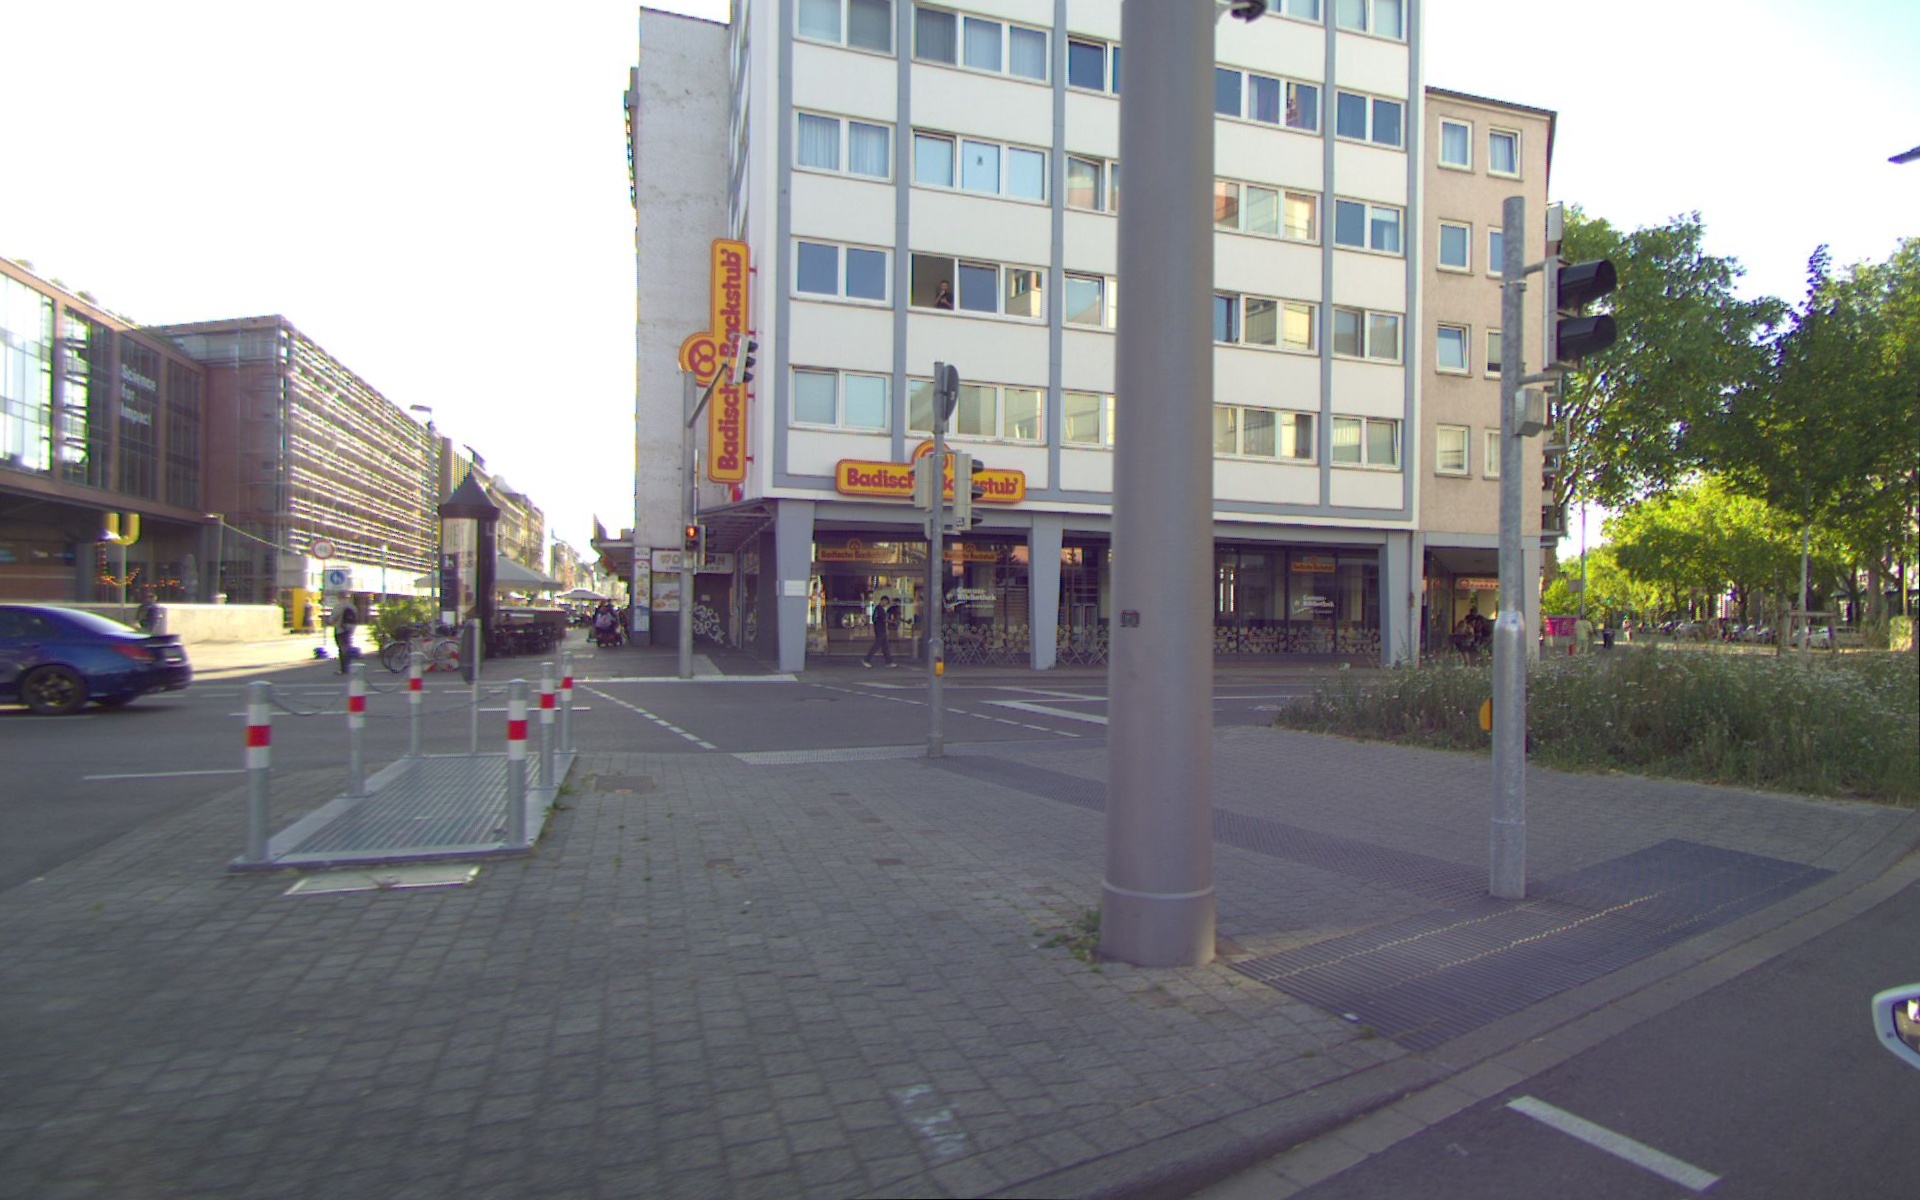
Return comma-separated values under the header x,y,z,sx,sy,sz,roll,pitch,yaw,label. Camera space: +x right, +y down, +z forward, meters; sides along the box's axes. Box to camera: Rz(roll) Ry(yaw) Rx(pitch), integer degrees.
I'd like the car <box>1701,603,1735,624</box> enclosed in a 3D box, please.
x,y,z,sx,sy,sz,roll,pitch,yaw,label
72.181,1.273,95.698,2.002,1.960,4.087,0,0,28,car

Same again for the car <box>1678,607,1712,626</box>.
x,y,z,sx,sy,sz,roll,pitch,yaw,label
59.610,1.319,81.527,1.896,1.407,3.990,0,0,32,car

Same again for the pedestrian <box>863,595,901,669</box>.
x,y,z,sx,sy,sz,roll,pitch,yaw,label
-1.880,0.770,24.196,0.763,1.747,0.805,1,0,-16,pedestrian

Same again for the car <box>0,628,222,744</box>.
x,y,z,sx,sy,sz,roll,pitch,yaw,label
-12.735,1.090,13.187,4.527,1.404,1.830,1,-1,-21,car

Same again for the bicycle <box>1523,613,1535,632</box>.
x,y,z,sx,sy,sz,roll,pitch,yaw,label
28.425,1.123,50.195,0.383,0.889,1.610,3,1,27,bicycle

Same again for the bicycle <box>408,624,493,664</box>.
x,y,z,sx,sy,sz,roll,pitch,yaw,label
-13.961,1.193,27.568,1.972,1.067,0.595,0,0,-13,bicycle

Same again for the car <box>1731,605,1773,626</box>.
x,y,z,sx,sy,sz,roll,pitch,yaw,label
66.183,1.269,83.964,2.002,1.742,4.088,0,0,28,car

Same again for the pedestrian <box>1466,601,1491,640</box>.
x,y,z,sx,sy,sz,roll,pitch,yaw,label
23.656,0.934,45.821,0.822,1.747,0.850,1,0,41,pedestrian

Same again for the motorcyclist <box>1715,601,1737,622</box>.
x,y,z,sx,sy,sz,roll,pitch,yaw,label
50.857,0.764,66.712,0.955,1.365,1.136,1,1,27,motorcyclist

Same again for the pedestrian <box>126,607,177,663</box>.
x,y,z,sx,sy,sz,roll,pitch,yaw,label
-24.808,1.065,30.830,0.866,1.687,0.908,0,0,18,pedestrian

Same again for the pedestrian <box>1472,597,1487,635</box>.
x,y,z,sx,sy,sz,roll,pitch,yaw,label
25.145,0.763,48.606,0.604,1.819,0.655,1,0,25,pedestrian

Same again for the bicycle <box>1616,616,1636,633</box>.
x,y,z,sx,sy,sz,roll,pitch,yaw,label
48.532,1.762,73.187,0.802,1.155,2.337,0,0,24,bicycle

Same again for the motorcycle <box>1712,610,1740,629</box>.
x,y,z,sx,sy,sz,roll,pitch,yaw,label
50.810,1.258,66.632,0.958,1.147,2.801,1,1,27,motorcycle

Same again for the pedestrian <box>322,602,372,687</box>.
x,y,z,sx,sy,sz,roll,pitch,yaw,label
-13.448,0.956,22.064,0.772,1.815,0.628,0,0,-16,pedestrian

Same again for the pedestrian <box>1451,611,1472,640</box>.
x,y,z,sx,sy,sz,roll,pitch,yaw,label
22.397,1.121,44.857,0.819,1.282,0.853,1,0,29,pedestrian

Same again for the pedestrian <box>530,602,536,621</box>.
x,y,z,sx,sy,sz,roll,pitch,yaw,label
-39.888,1.057,93.871,0.497,1.709,0.663,1,2,-21,pedestrian

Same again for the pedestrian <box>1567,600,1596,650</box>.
x,y,z,sx,sy,sz,roll,pitch,yaw,label
22.524,0.895,36.414,0.792,1.747,0.775,1,0,25,pedestrian

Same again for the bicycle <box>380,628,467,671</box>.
x,y,z,sx,sy,sz,roll,pitch,yaw,label
-14.091,1.295,26.428,1.979,1.067,0.592,0,0,-26,bicycle

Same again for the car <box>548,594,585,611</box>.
x,y,z,sx,sy,sz,roll,pitch,yaw,label
-71.932,0.488,183.669,6.212,2.946,2.554,1,1,-24,car

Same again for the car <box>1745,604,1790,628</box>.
x,y,z,sx,sy,sz,roll,pitch,yaw,label
63.176,1.234,78.623,2.002,1.782,4.088,0,0,28,car

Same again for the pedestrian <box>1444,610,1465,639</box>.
x,y,z,sx,sy,sz,roll,pitch,yaw,label
22.716,1.109,46.107,0.819,1.282,0.853,1,0,29,pedestrian

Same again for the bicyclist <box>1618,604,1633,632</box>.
x,y,z,sx,sy,sz,roll,pitch,yaw,label
48.613,1.314,73.365,0.802,1.973,0.857,0,0,24,bicyclist

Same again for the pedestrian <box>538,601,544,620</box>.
x,y,z,sx,sy,sz,roll,pitch,yaw,label
-39.174,0.986,93.980,0.497,1.709,0.663,1,2,-21,pedestrian

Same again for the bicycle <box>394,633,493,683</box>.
x,y,z,sx,sy,sz,roll,pitch,yaw,label
-12.094,1.340,23.568,1.992,1.067,0.589,0,0,-43,bicycle

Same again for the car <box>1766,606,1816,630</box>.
x,y,z,sx,sy,sz,roll,pitch,yaw,label
60.621,1.296,73.304,2.002,1.638,4.088,0,0,28,car

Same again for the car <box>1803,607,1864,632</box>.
x,y,z,sx,sy,sz,roll,pitch,yaw,label
55.144,1.192,63.487,2.002,1.524,4.088,0,0,28,car

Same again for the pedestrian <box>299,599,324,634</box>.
x,y,z,sx,sy,sz,roll,pitch,yaw,label
-31.769,0.809,49.207,0.684,1.687,0.753,0,0,22,pedestrian

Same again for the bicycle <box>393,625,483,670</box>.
x,y,z,sx,sy,sz,roll,pitch,yaw,label
-13.298,1.187,25.628,1.986,1.067,0.590,0,0,-35,bicycle

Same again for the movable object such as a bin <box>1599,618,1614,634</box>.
x,y,z,sx,sy,sz,roll,pitch,yaw,label
37.112,1.477,57.655,0.675,0.863,0.578,2,2,28,movable object such as a bin
